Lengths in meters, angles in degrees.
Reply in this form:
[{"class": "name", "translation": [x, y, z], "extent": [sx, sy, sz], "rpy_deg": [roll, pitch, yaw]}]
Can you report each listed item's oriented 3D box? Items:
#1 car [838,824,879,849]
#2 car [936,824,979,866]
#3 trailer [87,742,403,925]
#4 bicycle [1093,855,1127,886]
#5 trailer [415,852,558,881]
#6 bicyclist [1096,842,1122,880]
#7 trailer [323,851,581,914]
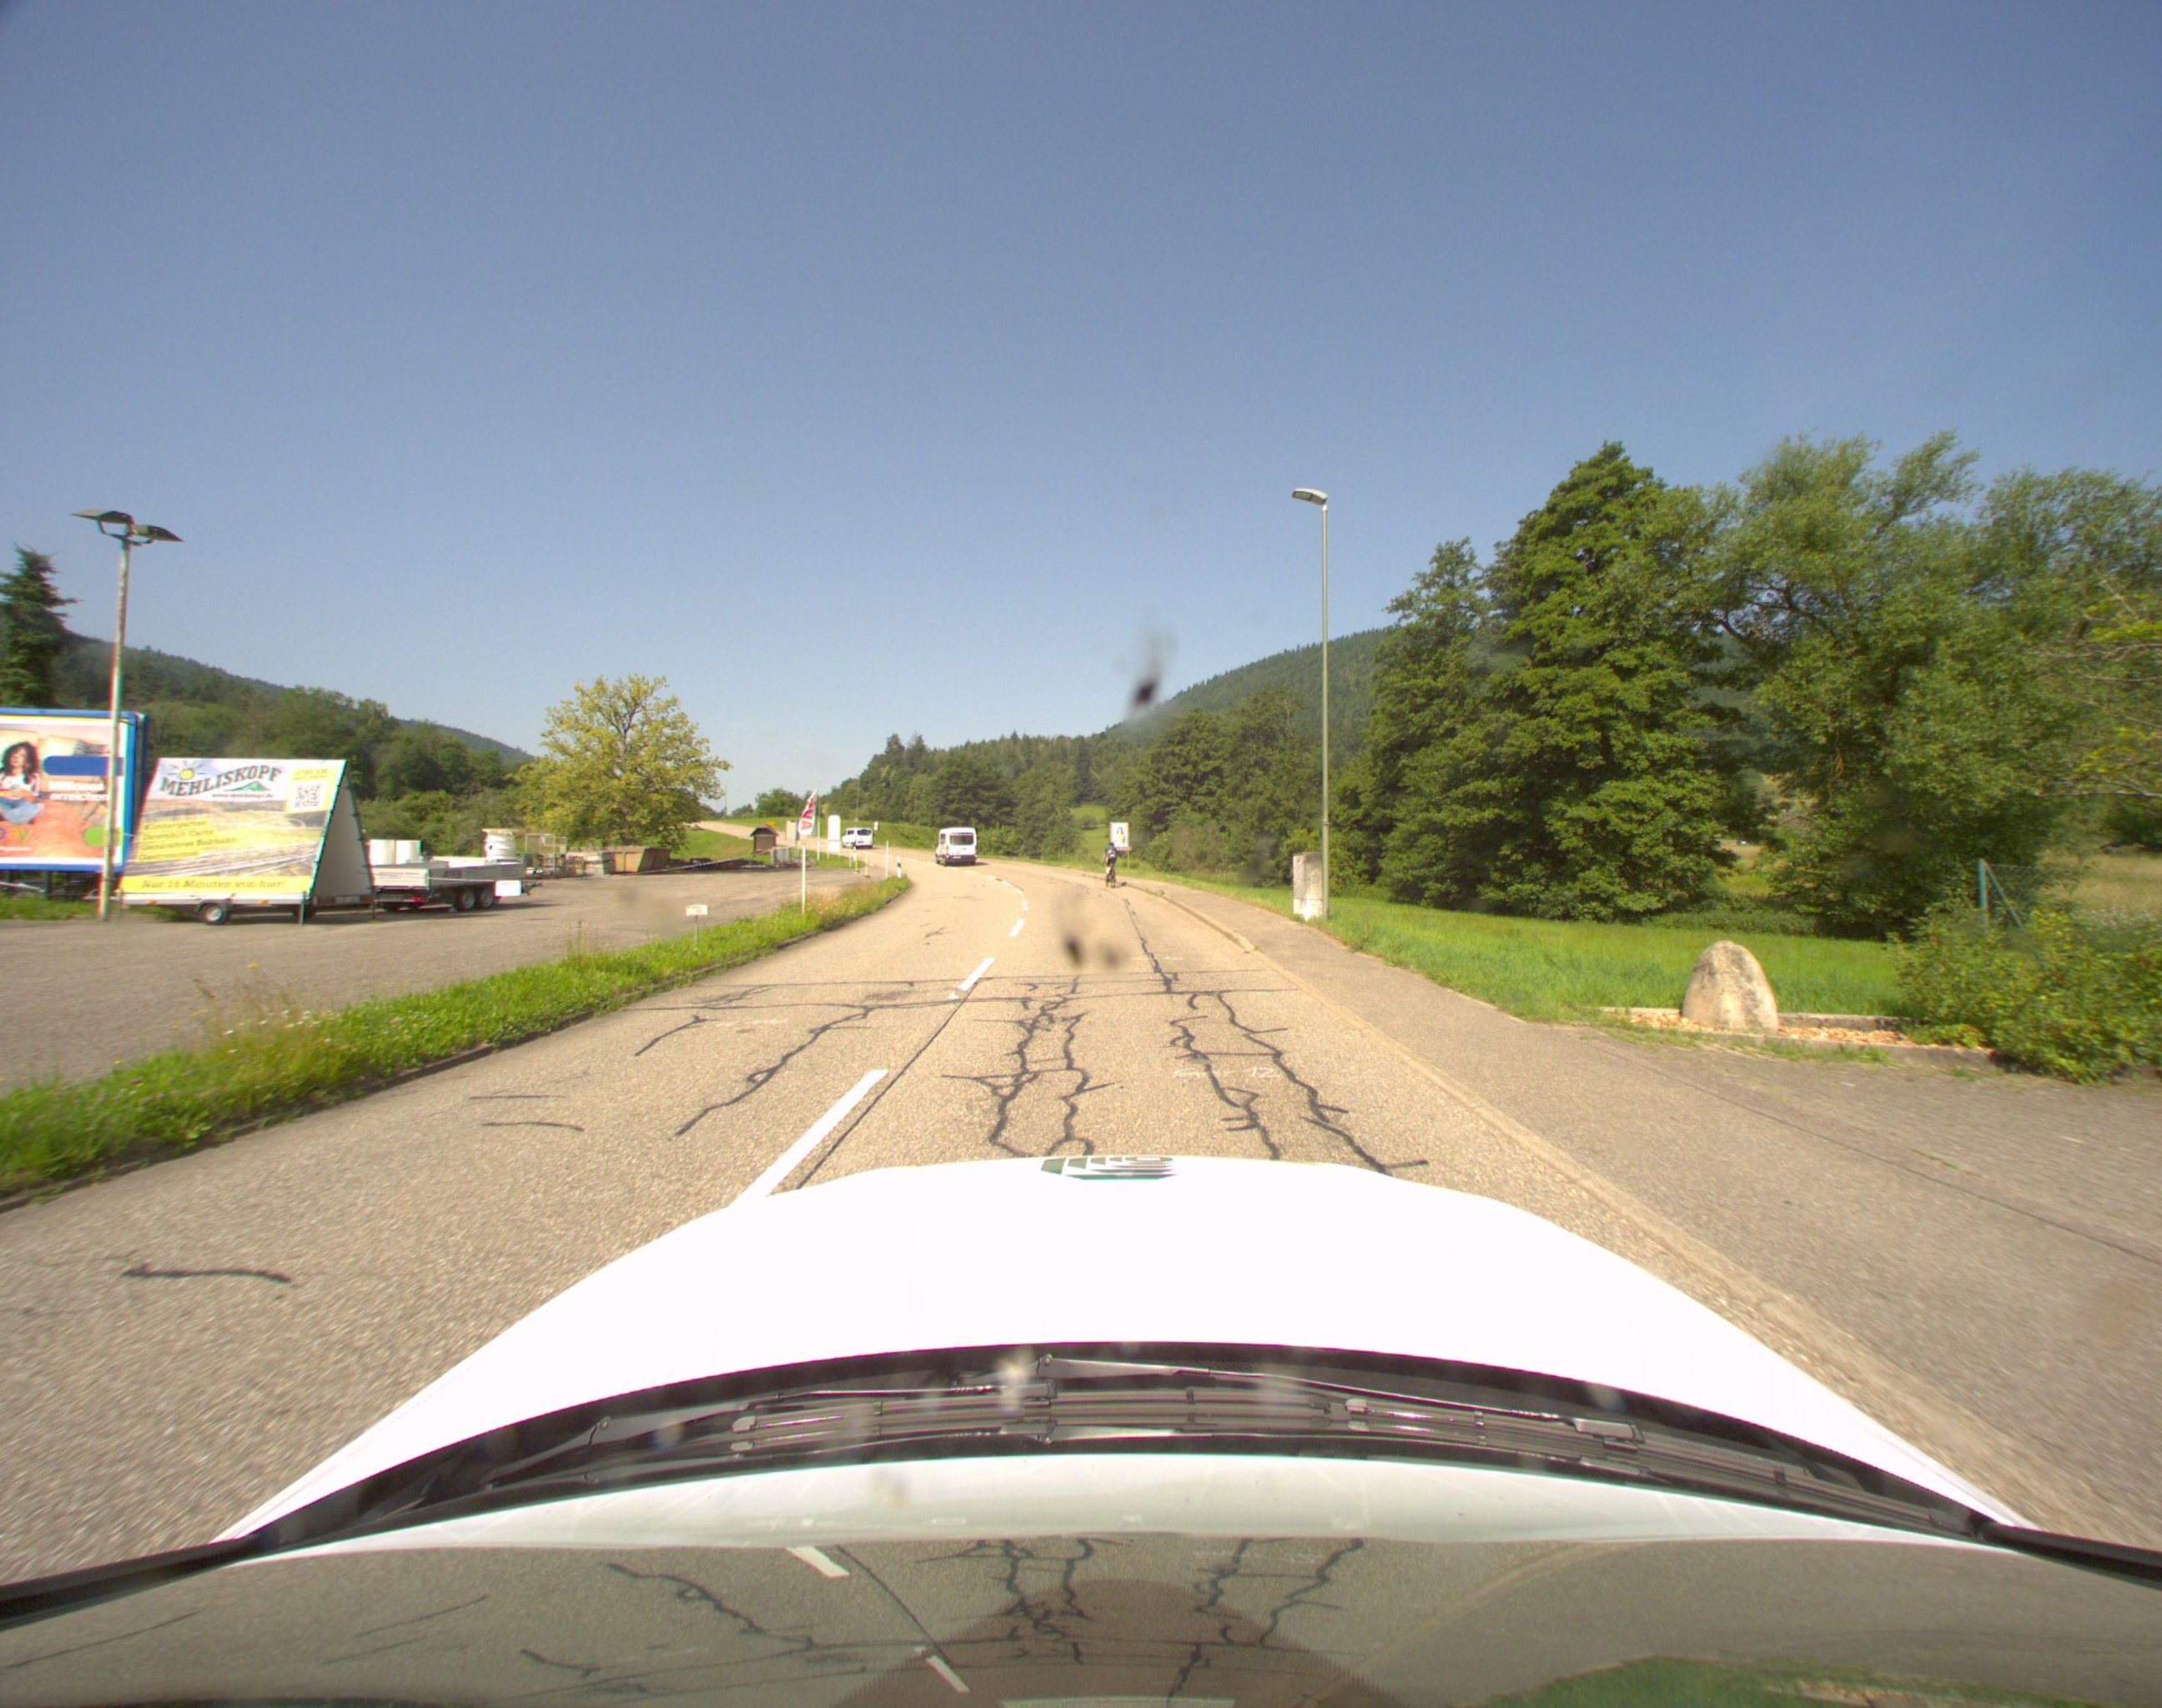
[{"class": "car", "translation": [-21.490, -1.715, 78.426], "extent": [2.239, 2.286, 4.931], "rpy_deg": [-3, 3, -35]}, {"class": "car", "translation": [-8.166, -0.661, 53.501], "extent": [2.227, 2.525, 4.960], "rpy_deg": [-2, 2, -15]}, {"class": "trailer", "translation": [-14.628, -0.323, 14.462], "extent": [3.387, 2.912, 1.880], "rpy_deg": [2, 0, -6]}, {"class": "bicycle", "translation": [1.044, 0.576, 29.775], "extent": [0.581, 1.035, 1.979], "rpy_deg": [-3, 2, -17]}, {"class": "trailer", "translation": [-22.358, 0.472, 30.763], "extent": [3.921, 0.939, 1.866], "rpy_deg": [2, -1, -2]}, {"class": "bicyclist", "translation": [1.008, 0.240, 29.597], "extent": [0.581, 1.342, 1.138], "rpy_deg": [-3, 1, -17]}, {"class": "trailer", "translation": [-14.407, 0.582, 19.236], "extent": [1.989, 1.226, 5.539], "rpy_deg": [2, 0, -3]}]
